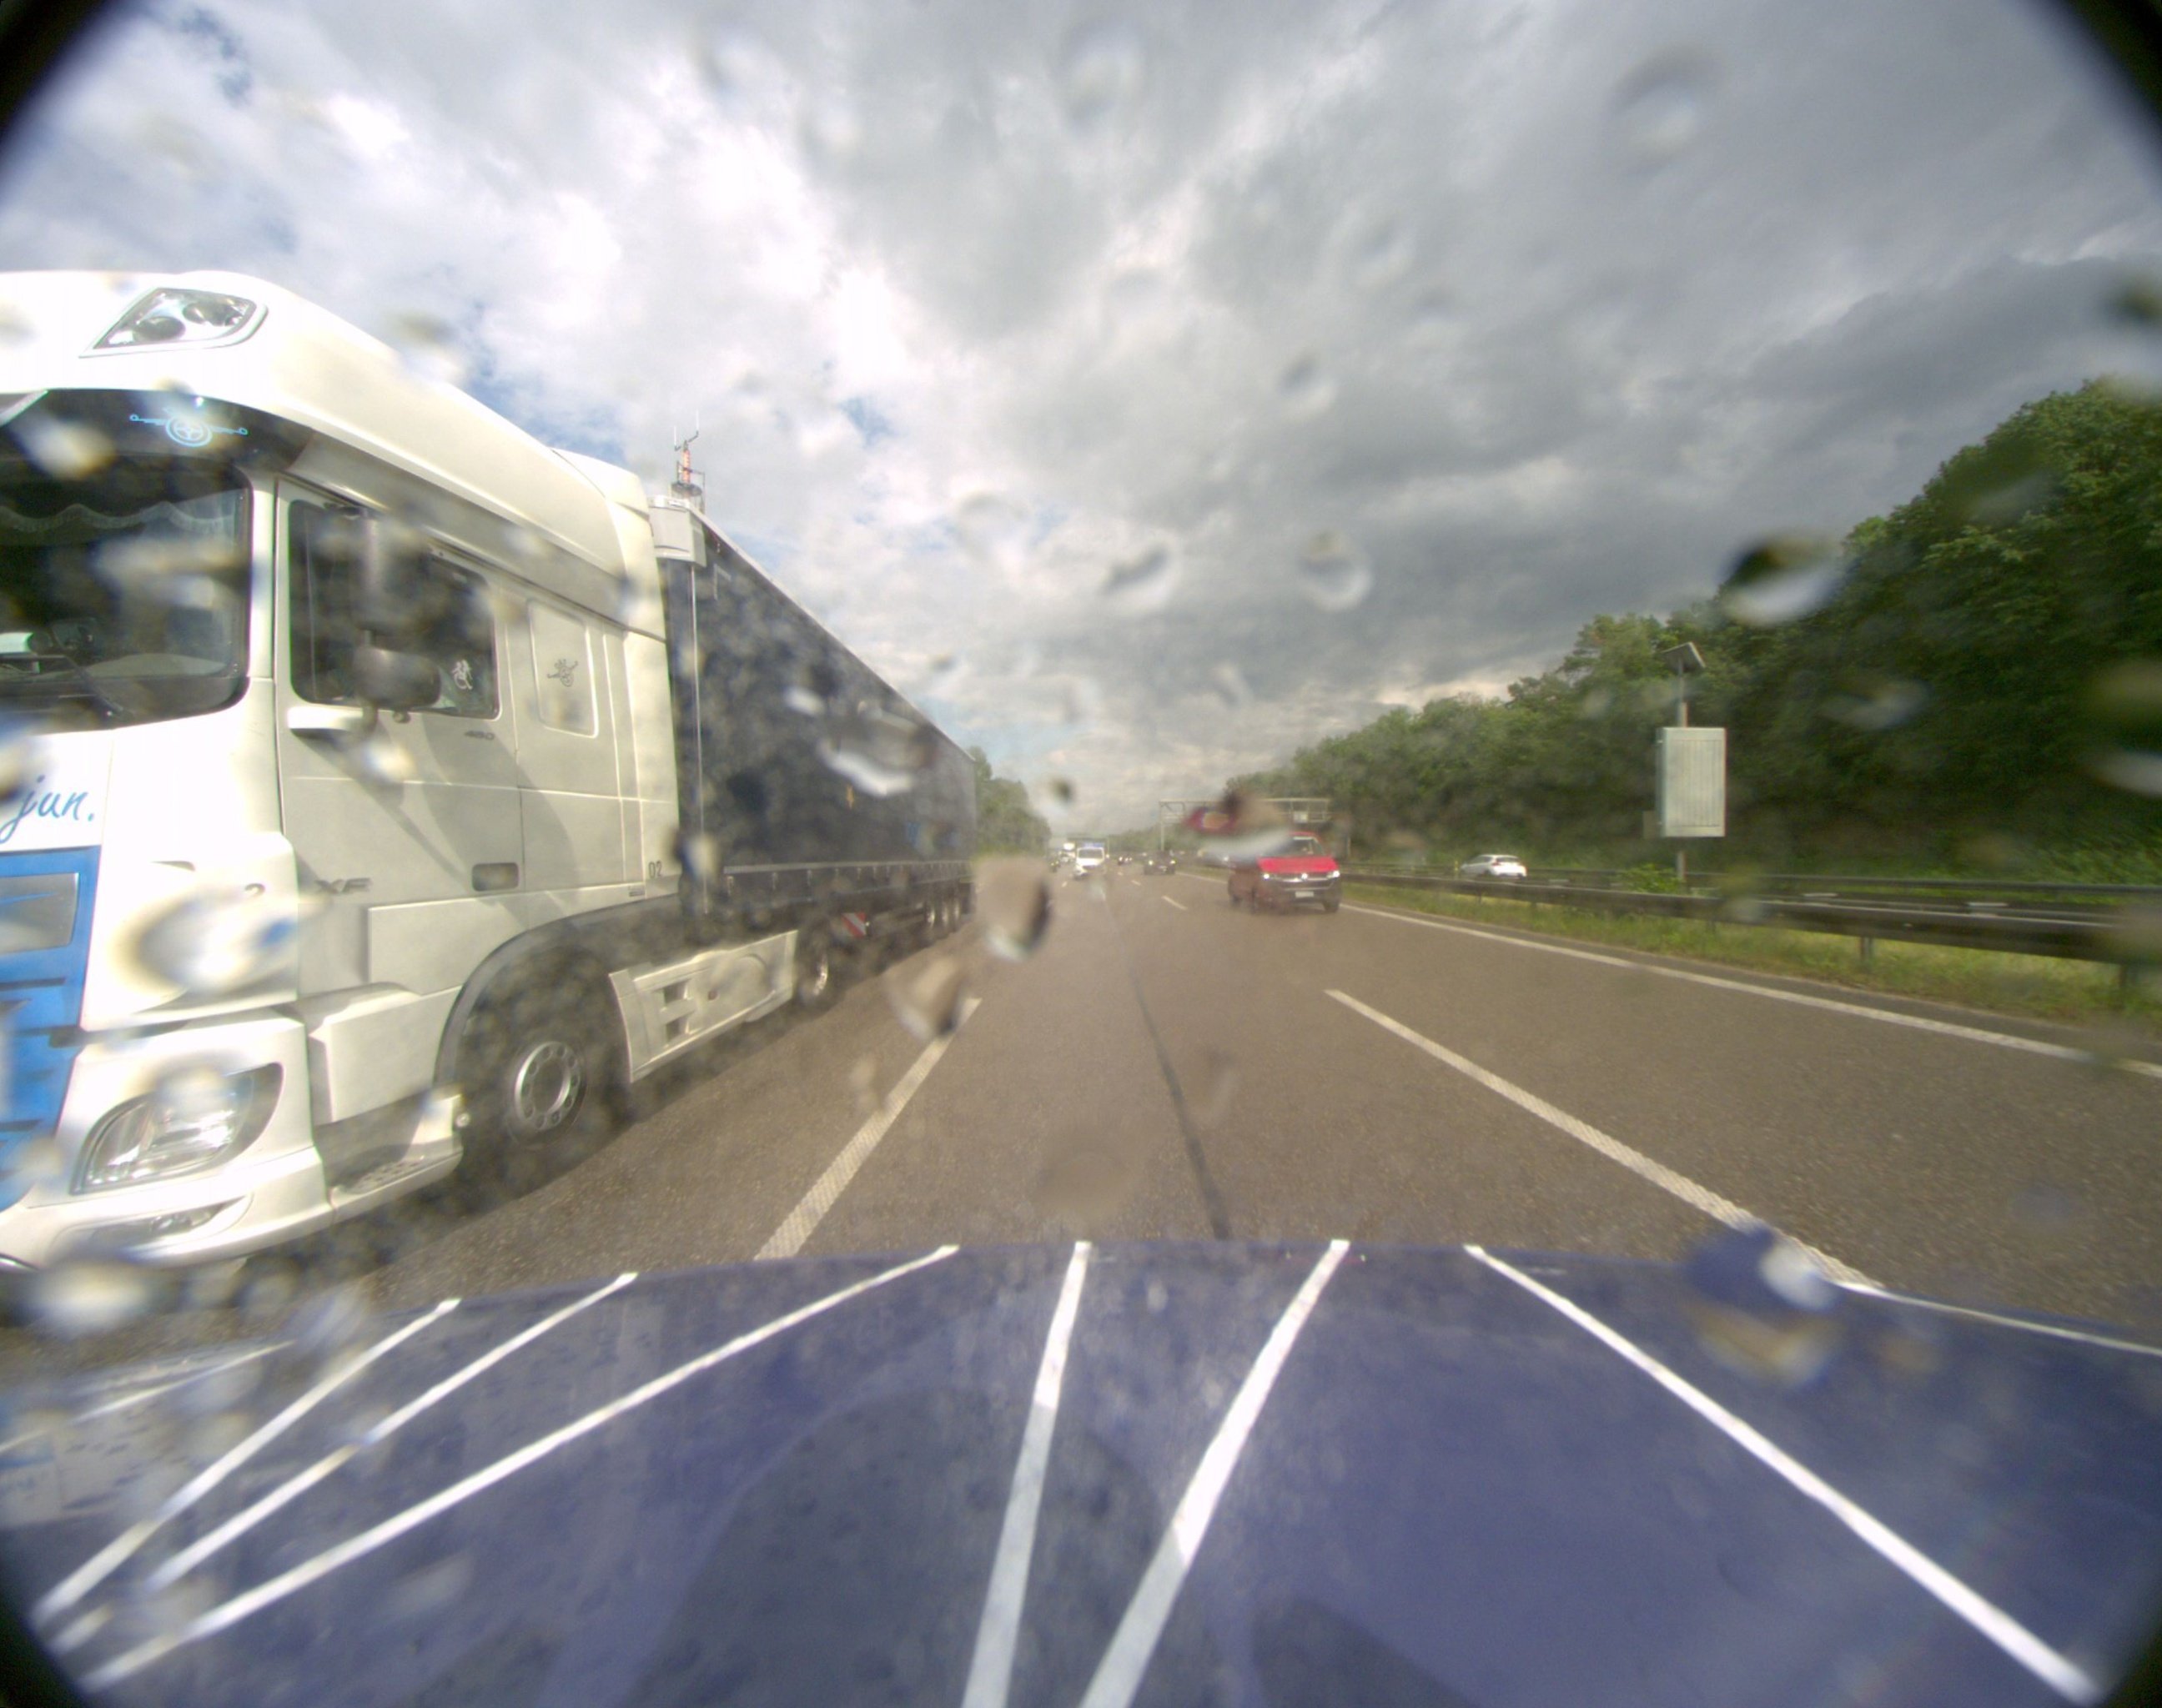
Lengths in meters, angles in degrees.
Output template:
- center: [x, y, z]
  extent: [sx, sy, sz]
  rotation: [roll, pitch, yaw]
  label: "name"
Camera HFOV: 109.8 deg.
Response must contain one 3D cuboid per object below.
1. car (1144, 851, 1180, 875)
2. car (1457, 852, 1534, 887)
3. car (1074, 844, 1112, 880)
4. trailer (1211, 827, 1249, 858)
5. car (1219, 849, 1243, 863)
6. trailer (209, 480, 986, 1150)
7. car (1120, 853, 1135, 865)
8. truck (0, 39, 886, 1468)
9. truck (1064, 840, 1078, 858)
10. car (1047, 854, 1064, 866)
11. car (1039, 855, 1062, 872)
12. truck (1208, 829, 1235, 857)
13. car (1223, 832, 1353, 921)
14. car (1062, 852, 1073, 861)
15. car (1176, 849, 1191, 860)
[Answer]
- center: [5.673, 0.605, 53.731]
  extent: [2.009, 1.488, 4.838]
  rotation: [-2, 1, 1]
  label: "car"
- center: [21.972, 0.781, 40.463]
  extent: [1.736, 1.653, 4.235]
  rotation: [-2, 1, 0]
  label: "car"
- center: [0.729, 0.450, 47.025]
  extent: [2.124, 1.988, 5.982]
  rotation: [-2, 1, 1]
  label: "car"
- center: [22.605, -1.679, 116.224]
  extent: [2.870, 4.347, 14.090]
  rotation: [-2, 1, 0]
  label: "trailer"
- center: [18.979, 0.258, 96.488]
  extent: [2.021, 1.653, 4.698]
  rotation: [-2, 1, 0]
  label: "car"
- center: [-3.806, -0.280, 11.648]
  extent: [2.641, 3.972, 14.063]
  rotation: [-2, 1, 1]
  label: "trailer"
- center: [6.110, 0.683, 100.024]
  extent: [1.798, 1.410, 4.838]
  rotation: [-2, 1, 1]
  label: "car"
- center: [-3.838, -0.239, 5.777]
  extent: [2.613, 3.972, 7.289]
  rotation: [-2, 1, 0]
  label: "truck"
- center: [-2.216, -1.137, 171.438]
  extent: [3.064, 3.827, 8.799]
  rotation: [-1, 0, 0]
  label: "truck"
- center: [-3.243, 0.766, 97.325]
  extent: [1.798, 1.410, 4.838]
  rotation: [-2, 1, 1]
  label: "car"
- center: [-2.838, 0.897, 71.999]
  extent: [1.798, 1.410, 4.838]
  rotation: [-2, 1, 1]
  label: "car"
- center: [22.594, -1.735, 122.687]
  extent: [2.870, 4.347, 6.867]
  rotation: [-2, 1, 0]
  label: "truck"
- center: [4.961, 0.464, 18.950]
  extent: [1.926, 1.855, 4.838]
  rotation: [-2, 1, 1]
  label: "car"
- center: [-2.332, 0.481, 131.271]
  extent: [1.798, 1.410, 4.838]
  rotation: [-2, 1, 1]
  label: "car"
- center: [15.612, 0.063, 115.923]
  extent: [1.736, 1.653, 4.235]
  rotation: [-2, 1, 0]
  label: "car"
